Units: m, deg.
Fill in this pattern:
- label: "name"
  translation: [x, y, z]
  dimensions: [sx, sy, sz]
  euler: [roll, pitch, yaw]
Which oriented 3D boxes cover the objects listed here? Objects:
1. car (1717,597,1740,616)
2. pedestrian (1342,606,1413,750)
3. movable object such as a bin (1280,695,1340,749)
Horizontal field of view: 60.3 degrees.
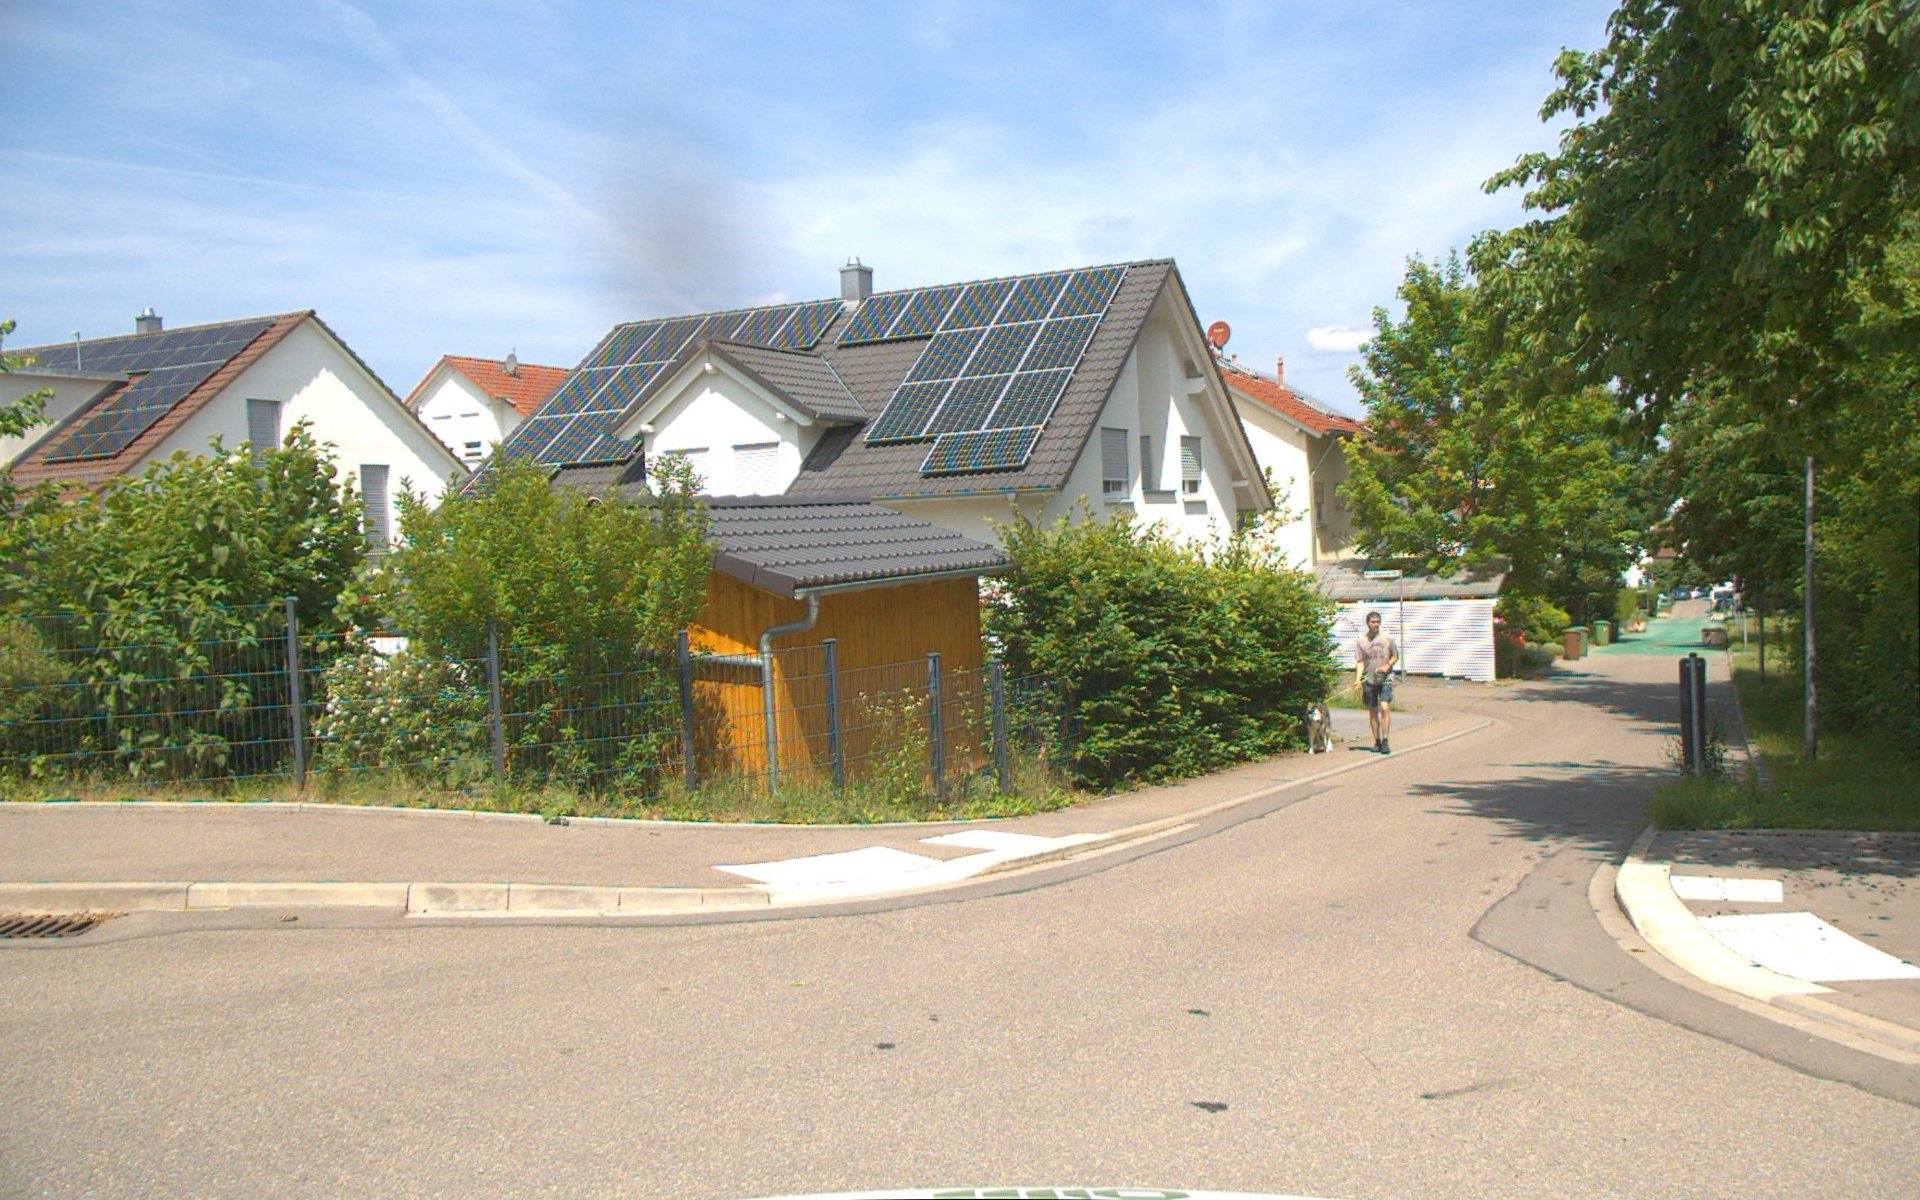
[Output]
- label: "car"
  translation: [65.498, 0.583, 141.027]
  dimensions: [1.545, 1.444, 3.231]
  euler: [-1, 2, 21]
- label: "pedestrian"
  translation: [5.532, 1.024, 21.889]
  dimensions: [0.828, 1.852, 0.835]
  euler: [-1, -2, 20]
- label: "movable object such as a bin"
  translation: [4.583, 1.589, 21.613]
  dimensions: [0.537, 0.640, 1.020]
  euler: [0, -1, 26]
